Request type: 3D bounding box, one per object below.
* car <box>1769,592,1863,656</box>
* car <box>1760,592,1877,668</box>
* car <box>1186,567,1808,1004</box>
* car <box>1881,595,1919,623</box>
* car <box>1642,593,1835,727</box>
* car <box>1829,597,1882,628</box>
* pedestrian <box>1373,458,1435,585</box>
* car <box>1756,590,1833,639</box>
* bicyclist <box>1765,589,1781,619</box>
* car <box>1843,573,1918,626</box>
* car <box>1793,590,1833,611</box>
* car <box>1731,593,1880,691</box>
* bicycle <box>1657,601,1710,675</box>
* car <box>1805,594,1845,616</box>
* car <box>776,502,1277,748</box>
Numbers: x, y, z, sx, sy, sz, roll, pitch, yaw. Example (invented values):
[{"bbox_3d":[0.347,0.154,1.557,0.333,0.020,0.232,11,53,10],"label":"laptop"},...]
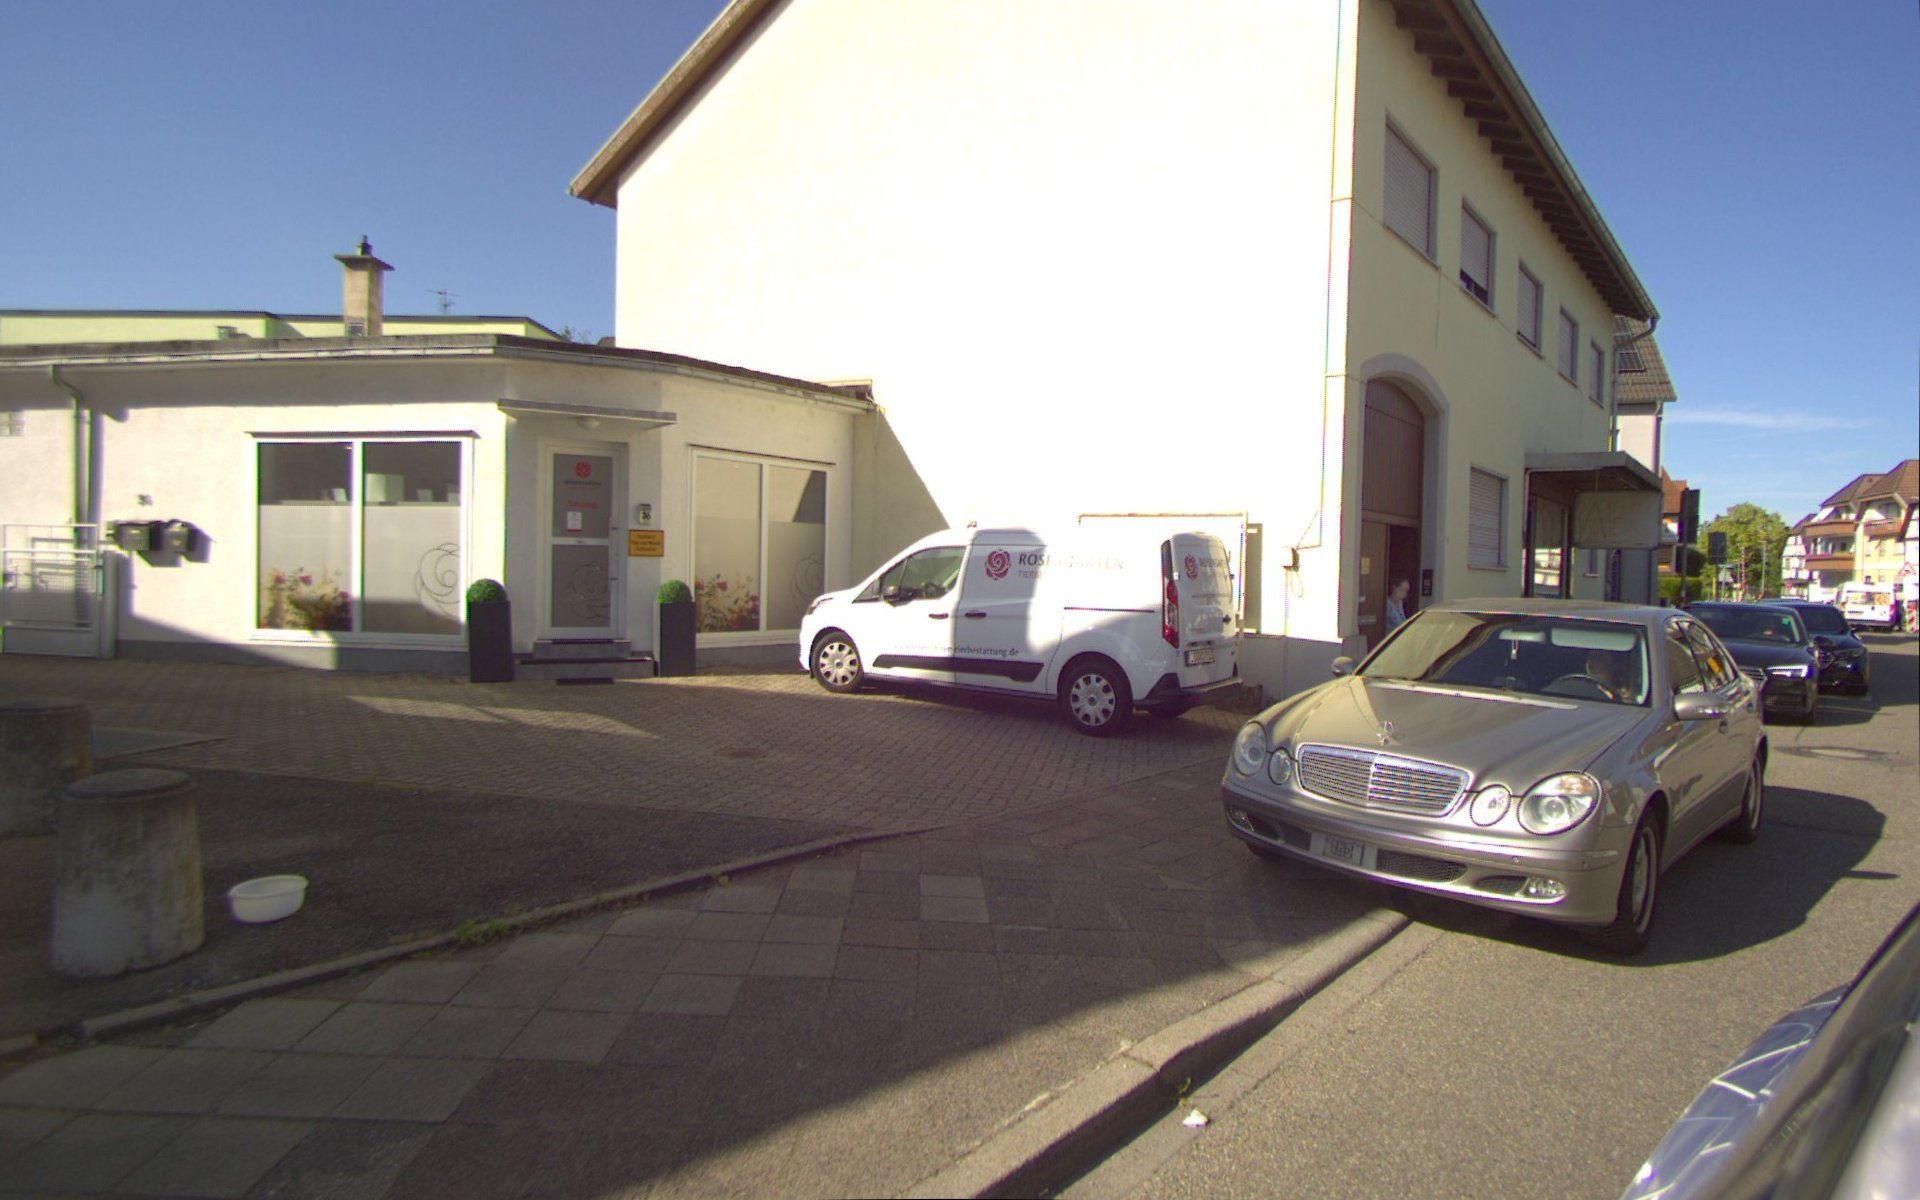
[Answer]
[{"bbox_3d":[21.861,0.555,25.858,1.724,1.494,3.817,0,0,41],"label":"car"},{"bbox_3d":[18.824,0.572,22.213,1.806,1.494,4.378,0,0,41],"label":"car"},{"bbox_3d":[3.357,0.622,5.783,4.583,1.493,1.813,0,2,-44],"label":"car"},{"bbox_3d":[56.914,0.531,60.693,1.634,1.606,4.068,1,1,30],"label":"car"},{"bbox_3d":[10.678,0.657,13.743,1.806,1.494,4.772,0,0,41],"label":"car"},{"bbox_3d":[52.461,0.715,59.339,1.716,1.638,4.063,2,2,33],"label":"car"},{"bbox_3d":[5.751,-0.989,13.090,0.563,1.571,0.760,1,0,37],"label":"pedestrian"},{"bbox_3d":[28.650,0.461,34.695,1.845,1.533,4.438,2,1,42],"label":"car"},{"bbox_3d":[46.204,0.215,57.520,0.640,1.685,0.596,2,1,39],"label":"bicyclist"},{"bbox_3d":[46.853,-0.054,51.620,2.248,2.501,5.442,3,2,37],"label":"car"},{"bbox_3d":[67.677,0.038,80.331,1.751,1.575,3.956,2,2,31],"label":"car"},{"bbox_3d":[14.880,0.617,17.806,1.806,1.494,4.772,0,0,41],"label":"car"},{"bbox_3d":[12.307,0.625,17.207,0.507,1.172,1.484,4,3,42],"label":"bicycle"},{"bbox_3d":[62.435,0.331,73.112,1.612,1.457,3.909,2,2,33],"label":"car"},{"bbox_3d":[0.522,0.063,10.287,4.749,1.909,1.884,5,3,35],"label":"car"}]
